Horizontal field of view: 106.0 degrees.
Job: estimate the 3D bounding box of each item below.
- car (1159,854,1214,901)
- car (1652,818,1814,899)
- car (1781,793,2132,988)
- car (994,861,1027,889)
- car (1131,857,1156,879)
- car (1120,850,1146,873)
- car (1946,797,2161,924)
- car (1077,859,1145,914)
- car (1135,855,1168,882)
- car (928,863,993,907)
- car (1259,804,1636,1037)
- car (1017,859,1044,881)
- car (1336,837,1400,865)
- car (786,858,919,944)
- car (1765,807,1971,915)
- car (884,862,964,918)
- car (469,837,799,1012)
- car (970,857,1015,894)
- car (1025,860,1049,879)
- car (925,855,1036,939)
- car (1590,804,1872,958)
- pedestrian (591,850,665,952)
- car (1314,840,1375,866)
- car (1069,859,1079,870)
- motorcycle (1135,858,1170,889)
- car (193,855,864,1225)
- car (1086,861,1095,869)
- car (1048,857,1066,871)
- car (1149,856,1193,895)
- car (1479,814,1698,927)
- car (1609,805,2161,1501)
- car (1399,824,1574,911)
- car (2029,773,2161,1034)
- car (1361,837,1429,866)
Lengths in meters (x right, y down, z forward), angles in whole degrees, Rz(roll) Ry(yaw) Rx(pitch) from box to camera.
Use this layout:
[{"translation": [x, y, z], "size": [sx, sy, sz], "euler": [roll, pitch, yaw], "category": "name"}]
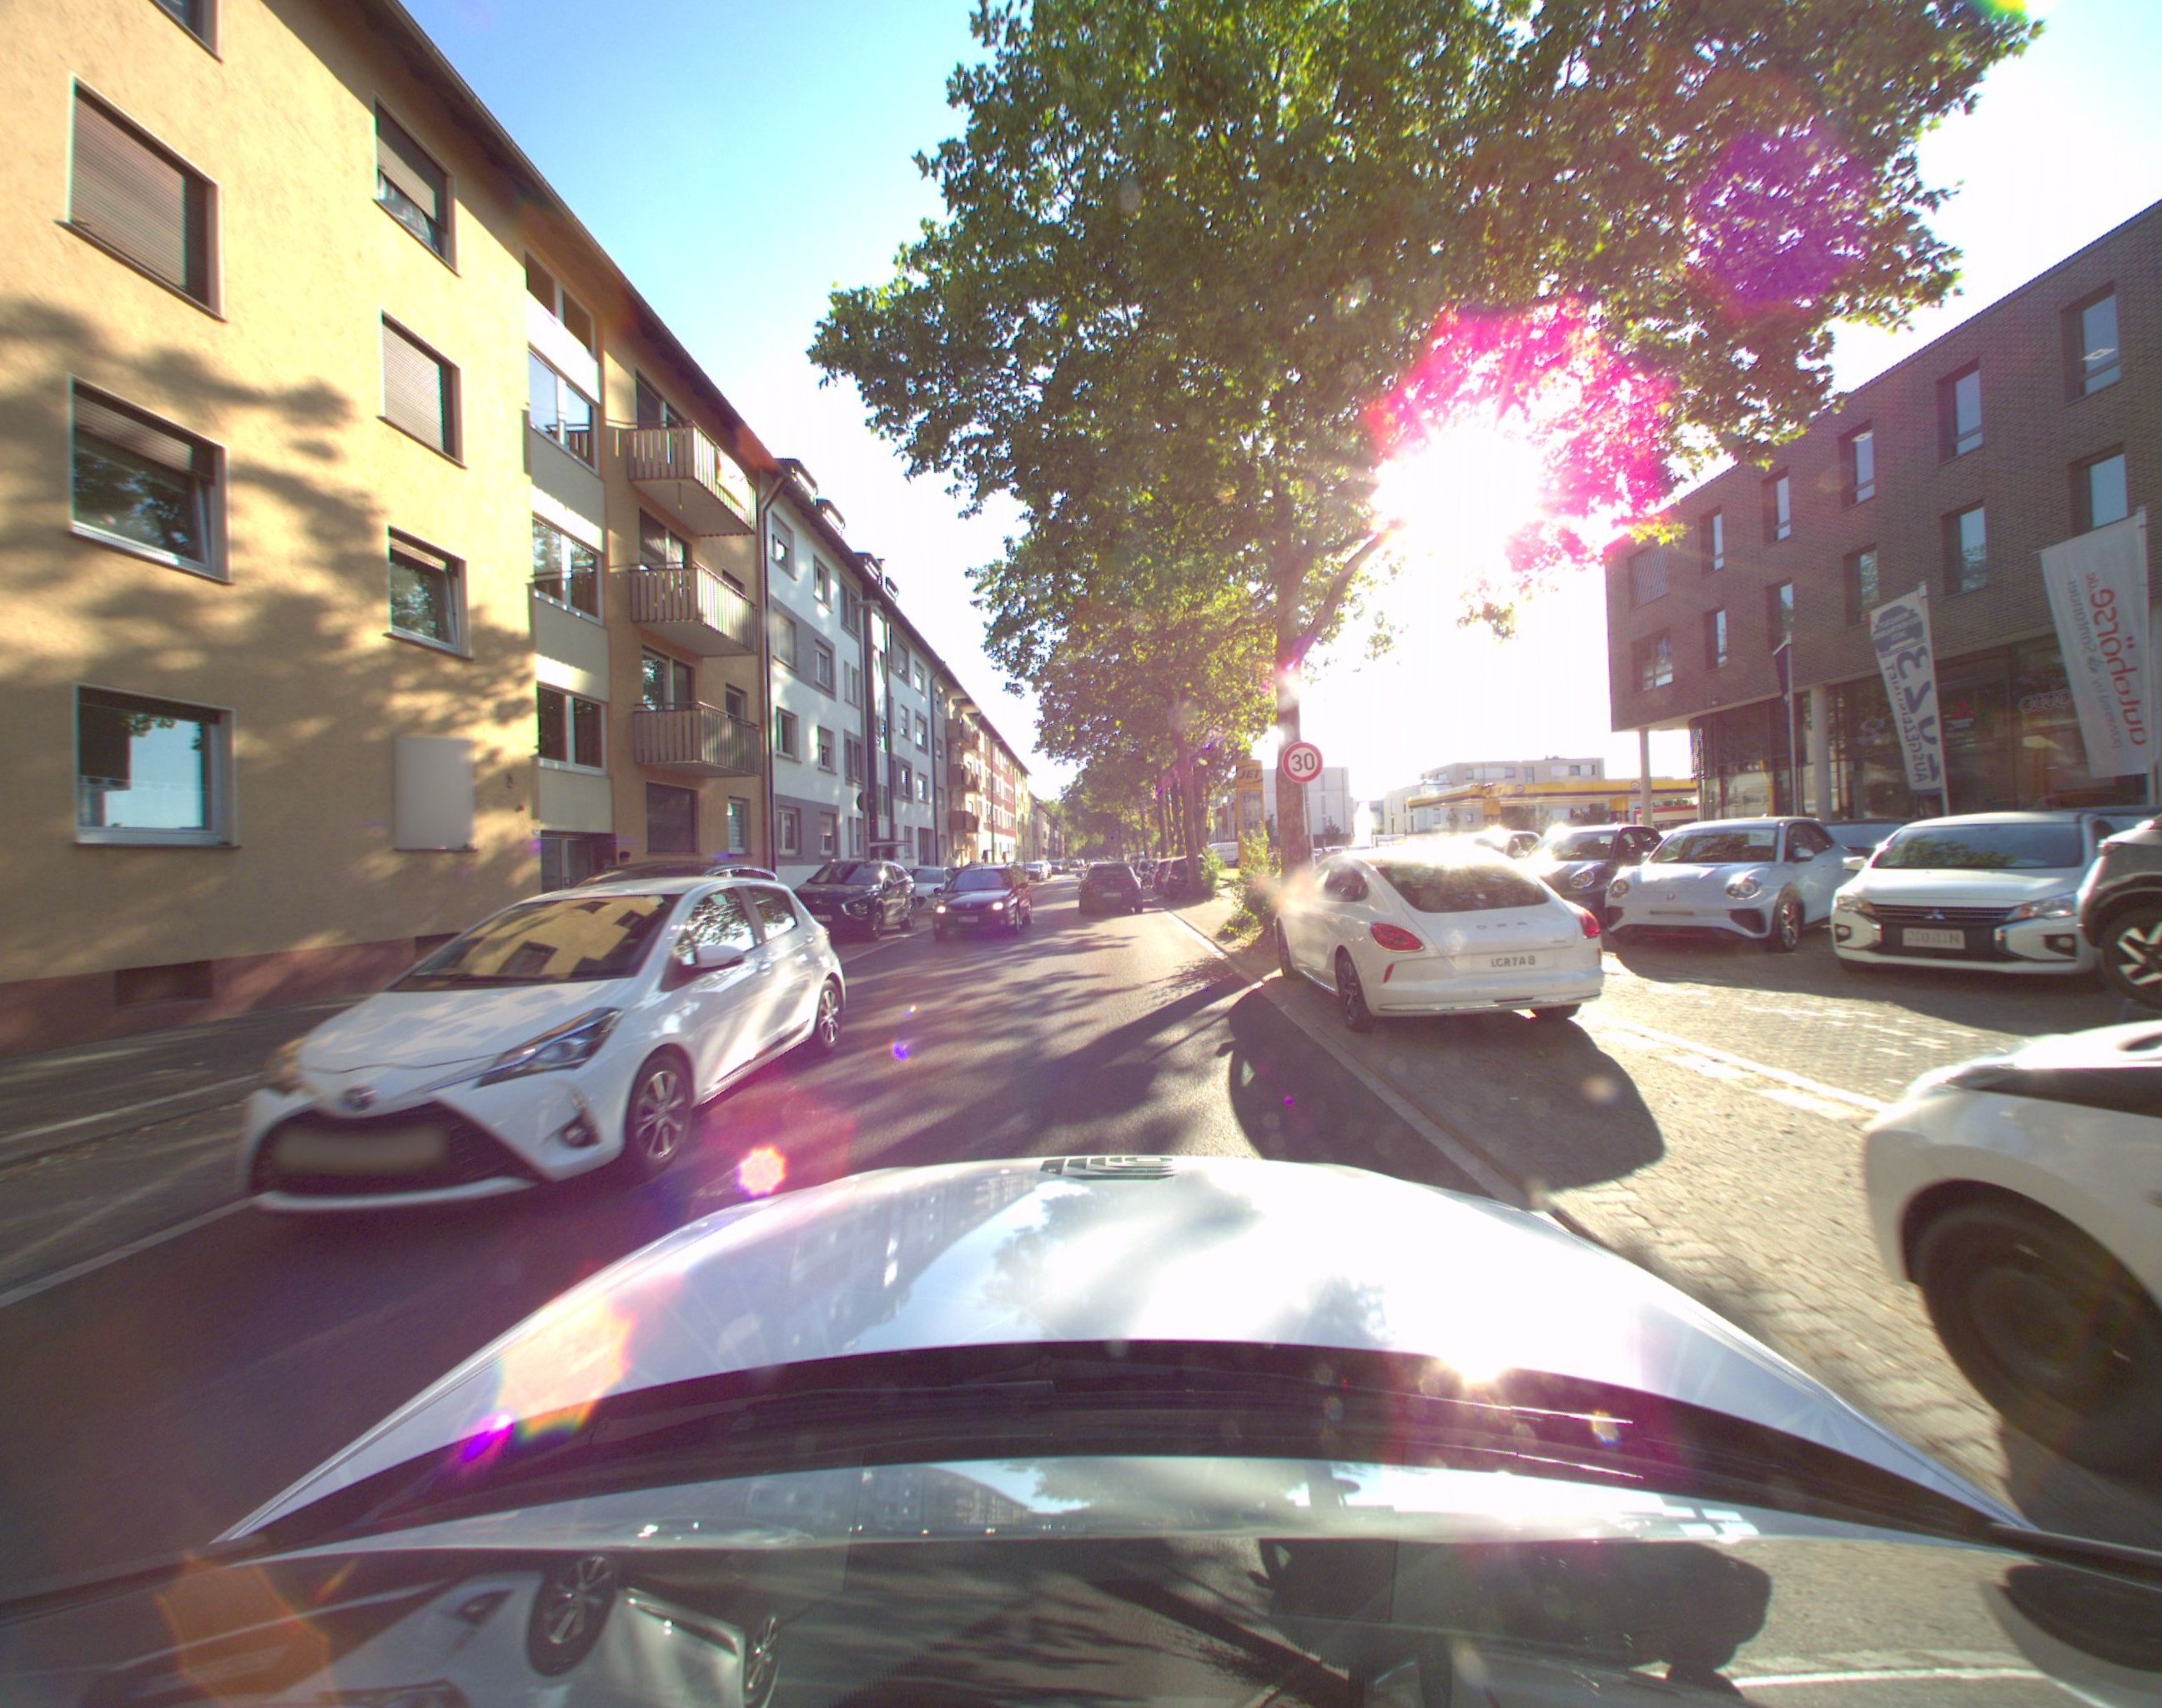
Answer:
[{"translation": [3.756, 0.823, 29.503], "size": [1.554, 1.596, 3.601], "euler": [0, -1, 1], "category": "car"}, {"translation": [14.259, 0.055, 17.763], "size": [3.835, 1.511, 1.626], "euler": [-3, 0, -34], "category": "car"}, {"translation": [8.849, 0.250, 8.173], "size": [3.832, 1.545, 1.646], "euler": [-2, 0, -32], "category": "car"}, {"translation": [-4.026, 1.178, 46.915], "size": [1.708, 1.464, 3.793], "euler": [2, 0, -3], "category": "car"}, {"translation": [4.648, 1.023, 60.884], "size": [1.627, 1.557, 3.601], "euler": [0, -1, 1], "category": "car"}, {"translation": [4.664, 0.726, 74.123], "size": [1.988, 2.014, 3.997], "euler": [-1, -2, -1], "category": "car"}, {"translation": [14.023, 0.027, 11.642], "size": [3.835, 1.511, 1.626], "euler": [-3, 0, -34], "category": "car"}, {"translation": [0.945, 0.876, 23.768], "size": [1.736, 1.443, 3.975], "euler": [0, 0, 5], "category": "car"}, {"translation": [4.209, 0.858, 48.829], "size": [1.716, 1.557, 3.601], "euler": [0, -1, 1], "category": "car"}, {"translation": [-4.309, 1.087, 29.704], "size": [1.590, 1.434, 4.219], "euler": [0, 0, 2], "category": "car"}, {"translation": [3.126, 0.512, 8.153], "size": [1.803, 1.539, 4.586], "euler": [-5, -1, 3], "category": "car"}, {"translation": [-3.853, 1.216, 62.888], "size": [1.706, 1.562, 3.802], "euler": [2, 0, 2], "category": "car"}, {"translation": [19.265, -0.210, 54.673], "size": [3.845, 1.712, 1.825], "euler": [-3, -1, -26], "category": "car"}, {"translation": [-4.849, 0.916, 17.906], "size": [1.591, 1.641, 4.413], "euler": [0, 0, 1], "category": "car"}, {"translation": [13.091, 0.063, 13.495], "size": [3.835, 1.511, 1.626], "euler": [-3, 0, -34], "category": "car"}, {"translation": [-4.632, 1.017, 24.495], "size": [1.542, 1.523, 4.005], "euler": [0, 0, 1], "category": "car"}, {"translation": [-5.391, 0.732, 10.658], "size": [1.739, 1.787, 4.550], "euler": [0, 0, 1], "category": "car"}, {"translation": [-4.078, 0.974, 38.001], "size": [1.591, 1.630, 3.838], "euler": [0, 0, 1], "category": "car"}, {"translation": [-3.773, 1.359, 70.990], "size": [1.706, 1.562, 3.802], "euler": [2, 0, 2], "category": "car"}, {"translation": [-2.056, 0.832, 17.824], "size": [1.657, 1.523, 4.414], "euler": [-3, 0, 2], "category": "car"}, {"translation": [8.505, 0.248, 10.581], "size": [3.835, 1.609, 1.723], "euler": [-3, 0, -34], "category": "car"}, {"translation": [-8.207, 0.826, 14.786], "size": [0.763, 1.769, 0.933], "euler": [1, -1, 1], "category": "pedestrian"}, {"translation": [19.199, -0.043, 59.403], "size": [3.834, 1.712, 1.830], "euler": [-3, -1, -17], "category": "car"}, {"translation": [-1.363, 2.017, 158.447], "size": [1.900, 1.948, 4.000], "euler": [-1, -2, 1], "category": "car"}, {"translation": [3.644, 0.964, 41.605], "size": [1.647, 1.557, 0.607], "euler": [0, -1, -20], "category": "motorcycle"}, {"translation": [-2.868, 0.793, 5.407], "size": [1.633, 1.523, 3.936], "euler": [-2, 0, 2], "category": "car"}, {"translation": [2.028, 2.405, 175.721], "size": [1.895, 1.661, 4.000], "euler": [-1, -2, 1], "category": "car"}, {"translation": [-2.685, 1.133, 92.395], "size": [1.706, 1.562, 3.802], "euler": [2, 0, 2], "category": "car"}, {"translation": [3.855, 0.909, 35.336], "size": [1.554, 1.596, 3.601], "euler": [0, -1, 1], "category": "car"}, {"translation": [8.569, 0.210, 13.663], "size": [3.836, 1.578, 1.722], "euler": [-3, 0, -36], "category": "car"}, {"translation": [3.062, 0.587, 1.427], "size": [1.629, 1.468, 4.021], "euler": [-4, -1, 1], "category": "car"}, {"translation": [8.782, 0.241, 17.532], "size": [3.836, 1.578, 1.727], "euler": [-3, 0, -36], "category": "car"}, {"translation": [7.722, 0.282, 3.818], "size": [1.745, 1.670, 4.160], "euler": [-2, 0, 2], "category": "car"}, {"translation": [19.278, -0.142, 50.053], "size": [3.845, 1.588, 1.684], "euler": [-3, -1, -26], "category": "car"}]
